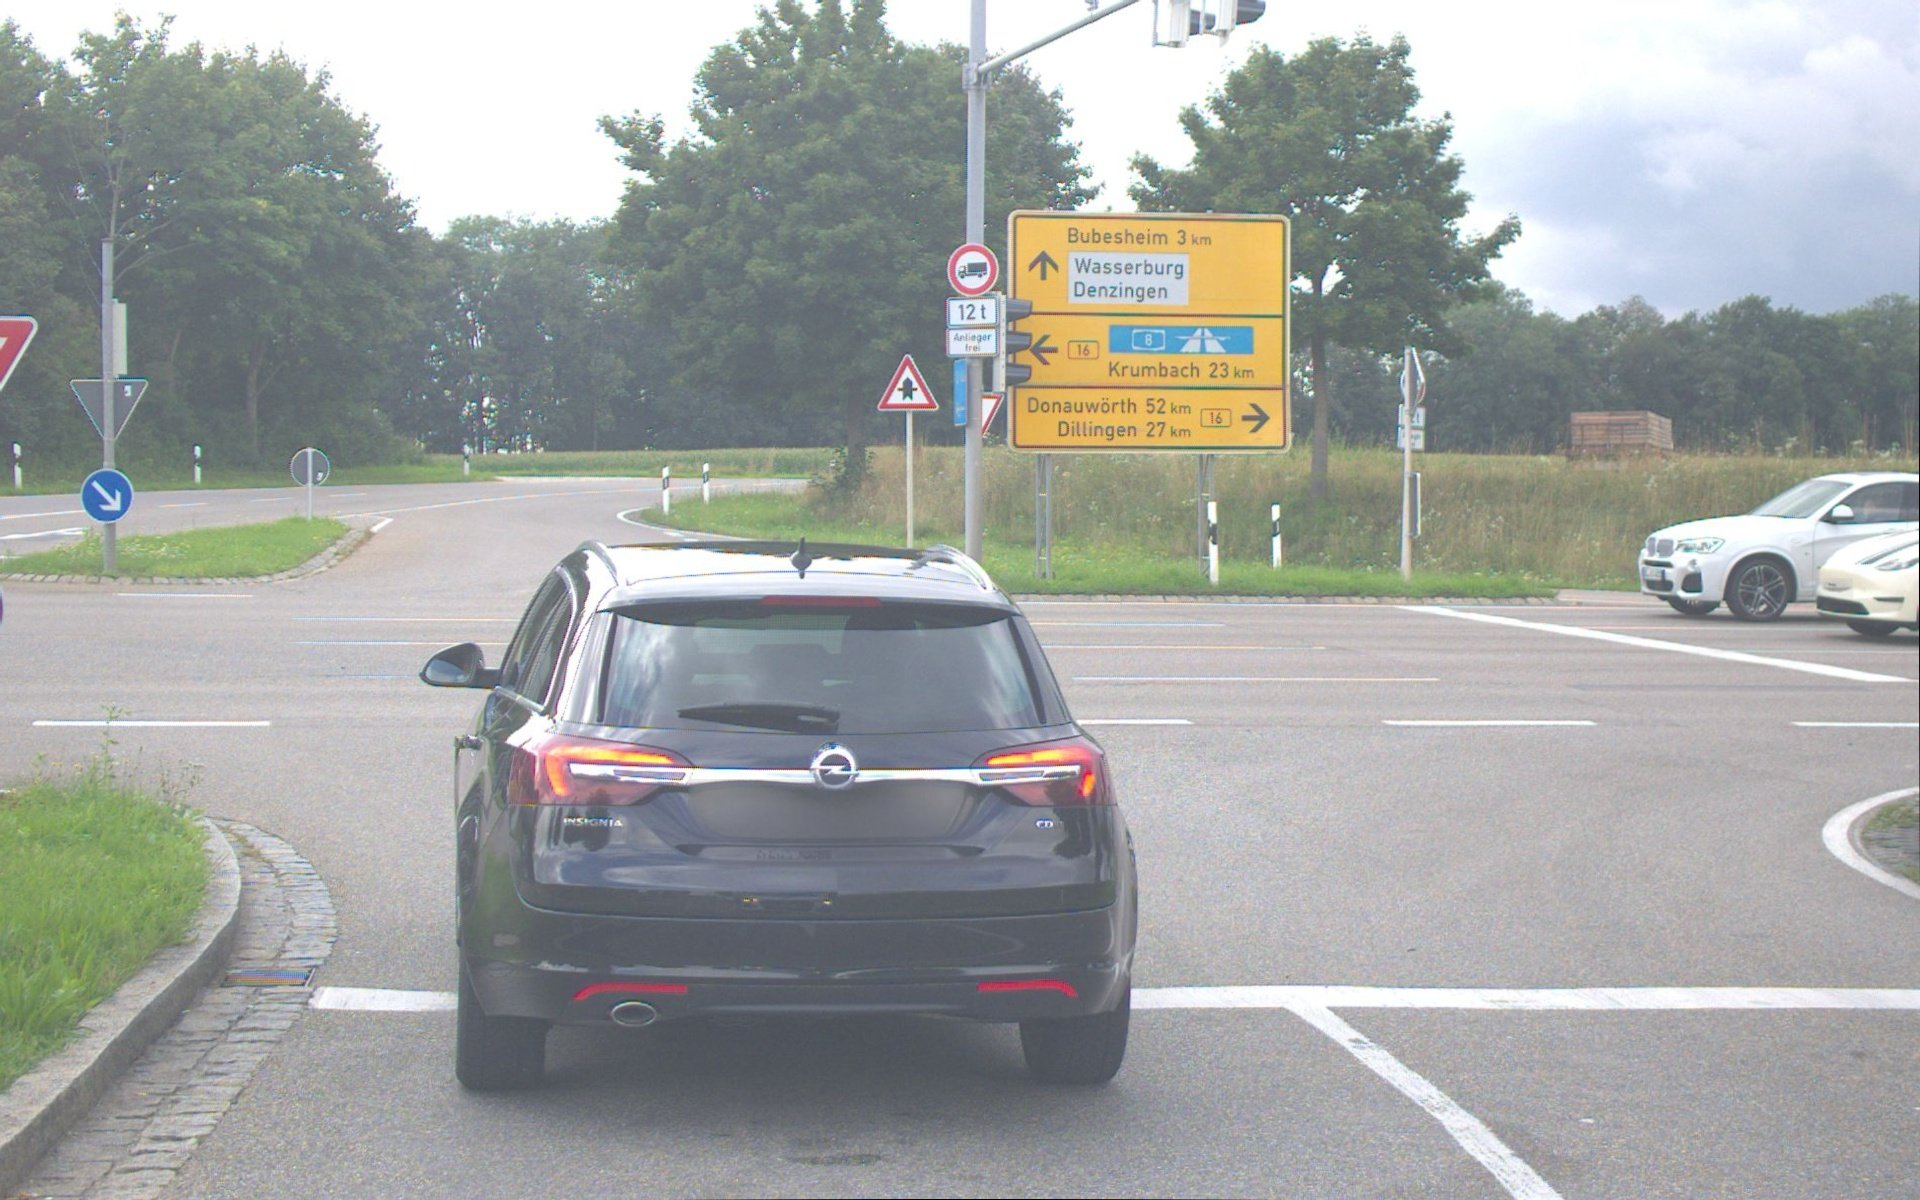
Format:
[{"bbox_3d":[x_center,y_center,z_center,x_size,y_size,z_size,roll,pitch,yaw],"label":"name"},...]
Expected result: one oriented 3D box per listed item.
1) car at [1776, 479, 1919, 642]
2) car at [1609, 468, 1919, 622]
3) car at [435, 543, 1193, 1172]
[{"bbox_3d":[10.822,-0.388,34.422,4.731,1.559,2.001,0,1,-12],"label":"car"},{"bbox_3d":[9.614,-0.610,38.171,4.259,1.623,2.001,0,1,-13],"label":"car"},{"bbox_3d":[-0.646,0.584,10.358,1.807,1.446,4.274,1,1,-8],"label":"car"}]
